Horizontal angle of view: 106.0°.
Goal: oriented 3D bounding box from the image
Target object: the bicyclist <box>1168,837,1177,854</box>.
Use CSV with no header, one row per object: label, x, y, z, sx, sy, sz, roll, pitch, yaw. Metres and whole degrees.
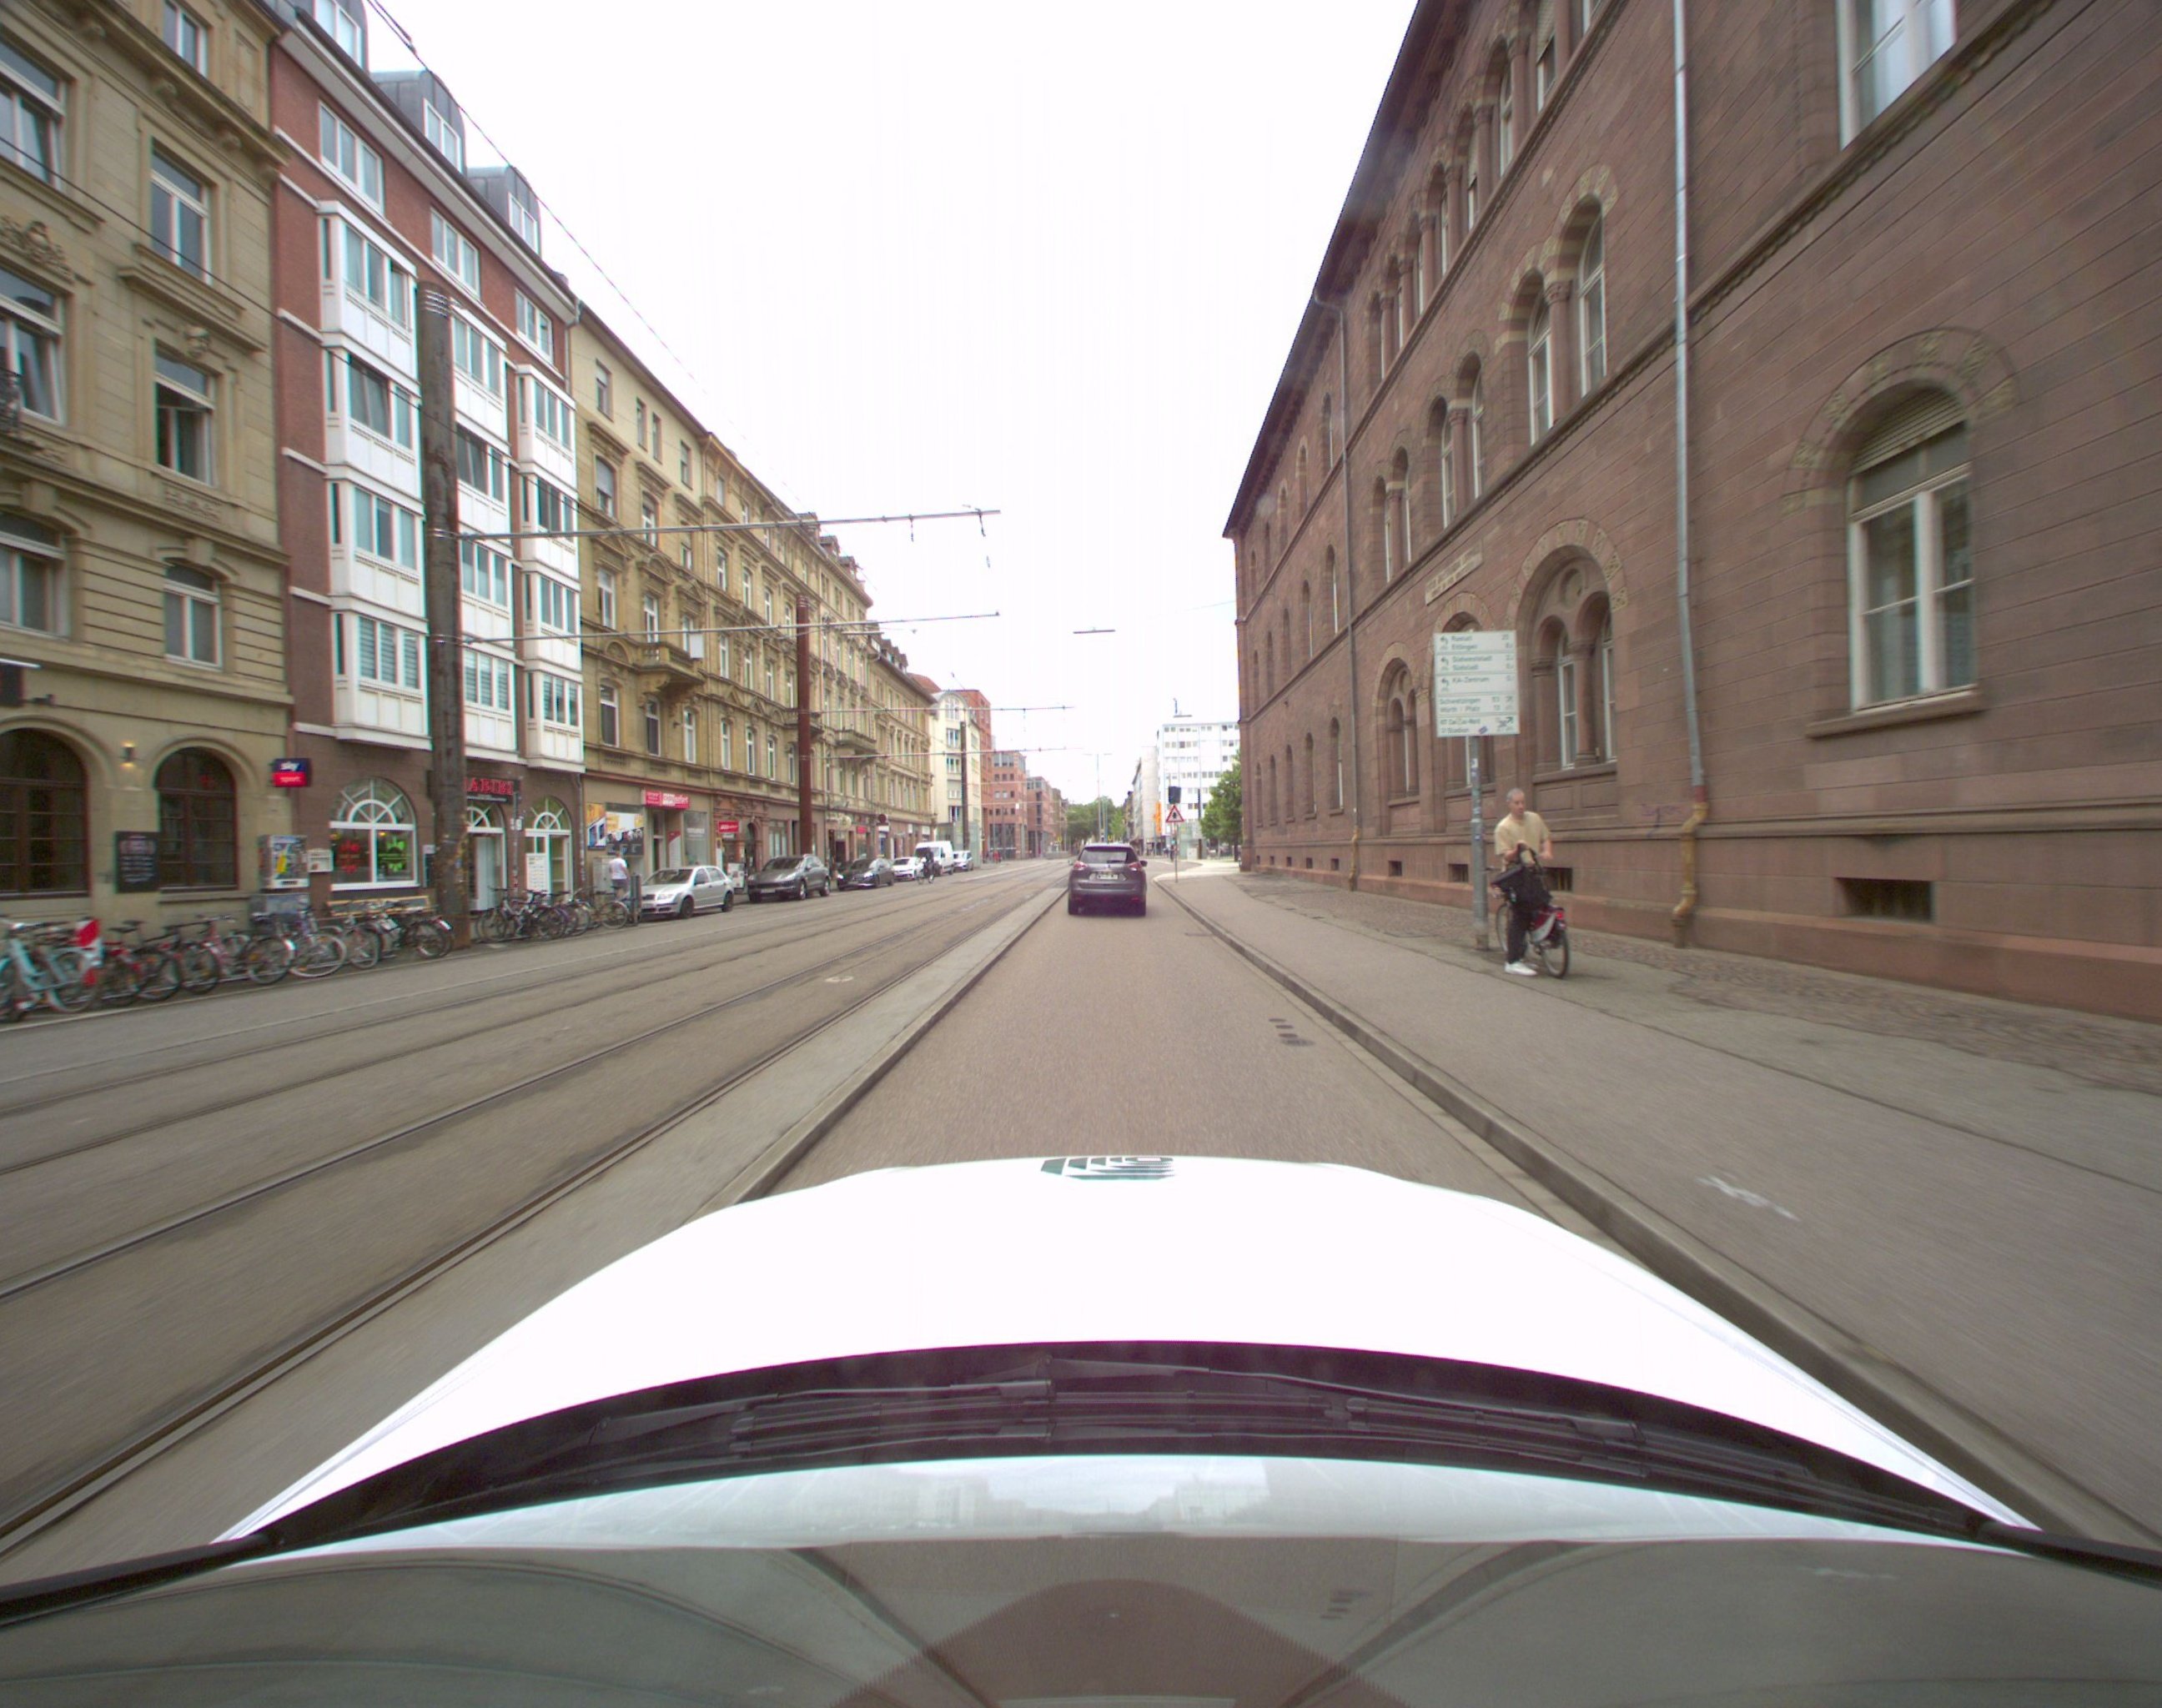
bicyclist,9.405,-0.872,83.602,0.830,1.812,0.878,0,0,4

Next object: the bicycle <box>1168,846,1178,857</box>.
bicycle,9.463,-0.276,84.153,0.897,1.045,3.282,-1,0,4

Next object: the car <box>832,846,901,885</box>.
car,-10.531,0.513,40.351,1.913,1.689,5.052,-4,0,0

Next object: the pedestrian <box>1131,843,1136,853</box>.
pedestrian,9.797,-1.119,151.698,0.731,1.745,0.662,0,0,-6

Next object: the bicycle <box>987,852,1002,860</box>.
bicycle,-11.335,0.287,106.553,1.903,1.021,0.480,-2,0,-6

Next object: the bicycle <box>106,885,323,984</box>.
bicycle,-12.171,1.115,11.482,2.273,1.203,0.705,-3,0,2

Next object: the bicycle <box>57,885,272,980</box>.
bicycle,-12.143,1.024,10.815,2.273,1.203,0.540,0,-1,2

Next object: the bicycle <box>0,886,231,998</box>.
bicycle,-12.143,1.077,10.183,2.273,1.203,0.705,-3,0,2

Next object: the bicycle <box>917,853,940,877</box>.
bicycle,-7.834,0.565,41.870,0.582,1.174,2.047,-3,0,3

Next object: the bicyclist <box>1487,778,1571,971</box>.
bicyclist,4.469,0.197,8.145,0.527,1.858,0.451,-2,0,1

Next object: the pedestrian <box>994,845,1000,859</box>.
pedestrian,-10.314,-0.206,99.723,0.660,1.687,0.720,-2,-1,-11

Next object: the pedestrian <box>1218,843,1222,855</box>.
pedestrian,17.211,-0.632,100.582,0.431,1.555,0.499,0,0,2

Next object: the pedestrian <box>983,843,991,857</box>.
pedestrian,-11.674,-0.512,101.554,0.869,1.687,0.659,-1,-1,-13

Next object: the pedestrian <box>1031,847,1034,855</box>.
pedestrian,-9.778,-0.596,163.543,0.450,1.532,0.519,0,0,-16

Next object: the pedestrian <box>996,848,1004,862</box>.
pedestrian,-10.864,0.155,109.136,0.894,1.890,0.799,0,-1,-1

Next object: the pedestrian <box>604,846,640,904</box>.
pedestrian,-14.389,0.647,25.519,0.646,1.782,0.790,0,0,38

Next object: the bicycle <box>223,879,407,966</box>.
bicycle,-12.168,1.076,12.973,2.273,1.203,0.667,-3,0,2

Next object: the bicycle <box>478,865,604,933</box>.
bicycle,-11.825,0.971,17.874,2.273,1.329,0.667,-3,0,2

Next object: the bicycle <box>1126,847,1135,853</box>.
bicycle,9.306,-0.716,152.258,1.692,1.065,0.437,0,0,-4

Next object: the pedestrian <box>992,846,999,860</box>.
pedestrian,-10.641,-0.151,101.463,0.720,1.687,0.660,-2,-1,-9

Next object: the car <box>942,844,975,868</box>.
car,-10.228,0.171,68.239,1.896,1.864,4.520,-3,0,0

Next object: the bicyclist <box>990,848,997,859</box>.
bicyclist,-11.479,-0.003,106.539,0.808,1.407,0.480,-2,0,-5

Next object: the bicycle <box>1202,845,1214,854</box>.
bicycle,14.298,-0.479,91.473,0.651,0.978,1.765,-2,0,30

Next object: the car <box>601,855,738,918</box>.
car,-11.480,0.840,23.047,1.737,1.488,3.921,-2,1,1

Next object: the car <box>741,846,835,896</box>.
car,-11.126,0.575,31.350,1.808,1.689,5.030,-2,1,-1

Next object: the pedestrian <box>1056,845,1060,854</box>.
pedestrian,-4.995,-0.983,178.638,0.694,1.842,0.738,0,0,20

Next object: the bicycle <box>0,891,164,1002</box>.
bicycle,-12.128,1.069,9.496,2.273,1.203,0.548,-1,0,2

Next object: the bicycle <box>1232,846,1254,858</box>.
bicycle,14.640,-0.191,73.681,1.901,1.123,0.647,0,0,12

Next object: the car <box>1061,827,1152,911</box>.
car,0.764,0.314,20.343,1.854,1.774,4.575,3,0,6

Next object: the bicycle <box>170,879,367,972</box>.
bicycle,-12.191,1.063,12.259,2.273,1.203,0.667,-3,0,2

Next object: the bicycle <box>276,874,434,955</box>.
bicycle,-12.150,0.995,13.652,2.273,1.294,0.448,1,0,2

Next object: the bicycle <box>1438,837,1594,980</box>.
bicycle,4.464,0.492,8.561,0.443,1.276,2.227,-3,0,2

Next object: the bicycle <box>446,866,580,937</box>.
bicycle,-11.864,0.980,17.045,2.273,1.329,0.667,-3,0,2

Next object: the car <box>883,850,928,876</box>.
car,-10.694,0.499,49.922,1.765,1.422,4.165,-4,0,0

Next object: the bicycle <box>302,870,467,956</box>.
bicycle,-12.133,1.019,14.226,2.273,1.329,0.667,-3,0,2

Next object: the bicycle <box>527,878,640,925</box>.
bicycle,-11.698,1.110,19.190,2.273,1.041,0.620,-1,0,2

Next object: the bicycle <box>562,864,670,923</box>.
bicycle,-11.695,0.978,20.504,2.273,1.329,0.667,-3,0,2

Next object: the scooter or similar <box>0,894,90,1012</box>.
scooter or similar,-12.233,1.059,8.863,2.273,1.203,0.548,0,0,2

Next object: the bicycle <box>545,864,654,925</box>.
bicycle,-11.674,0.970,19.781,2.273,1.329,0.521,-3,0,2

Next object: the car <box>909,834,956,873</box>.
car,-10.441,-0.048,57.810,2.046,2.486,5.667,-4,0,1

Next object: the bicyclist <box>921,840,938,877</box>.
bicyclist,-7.810,0.245,41.955,0.642,1.883,1.029,0,0,3
